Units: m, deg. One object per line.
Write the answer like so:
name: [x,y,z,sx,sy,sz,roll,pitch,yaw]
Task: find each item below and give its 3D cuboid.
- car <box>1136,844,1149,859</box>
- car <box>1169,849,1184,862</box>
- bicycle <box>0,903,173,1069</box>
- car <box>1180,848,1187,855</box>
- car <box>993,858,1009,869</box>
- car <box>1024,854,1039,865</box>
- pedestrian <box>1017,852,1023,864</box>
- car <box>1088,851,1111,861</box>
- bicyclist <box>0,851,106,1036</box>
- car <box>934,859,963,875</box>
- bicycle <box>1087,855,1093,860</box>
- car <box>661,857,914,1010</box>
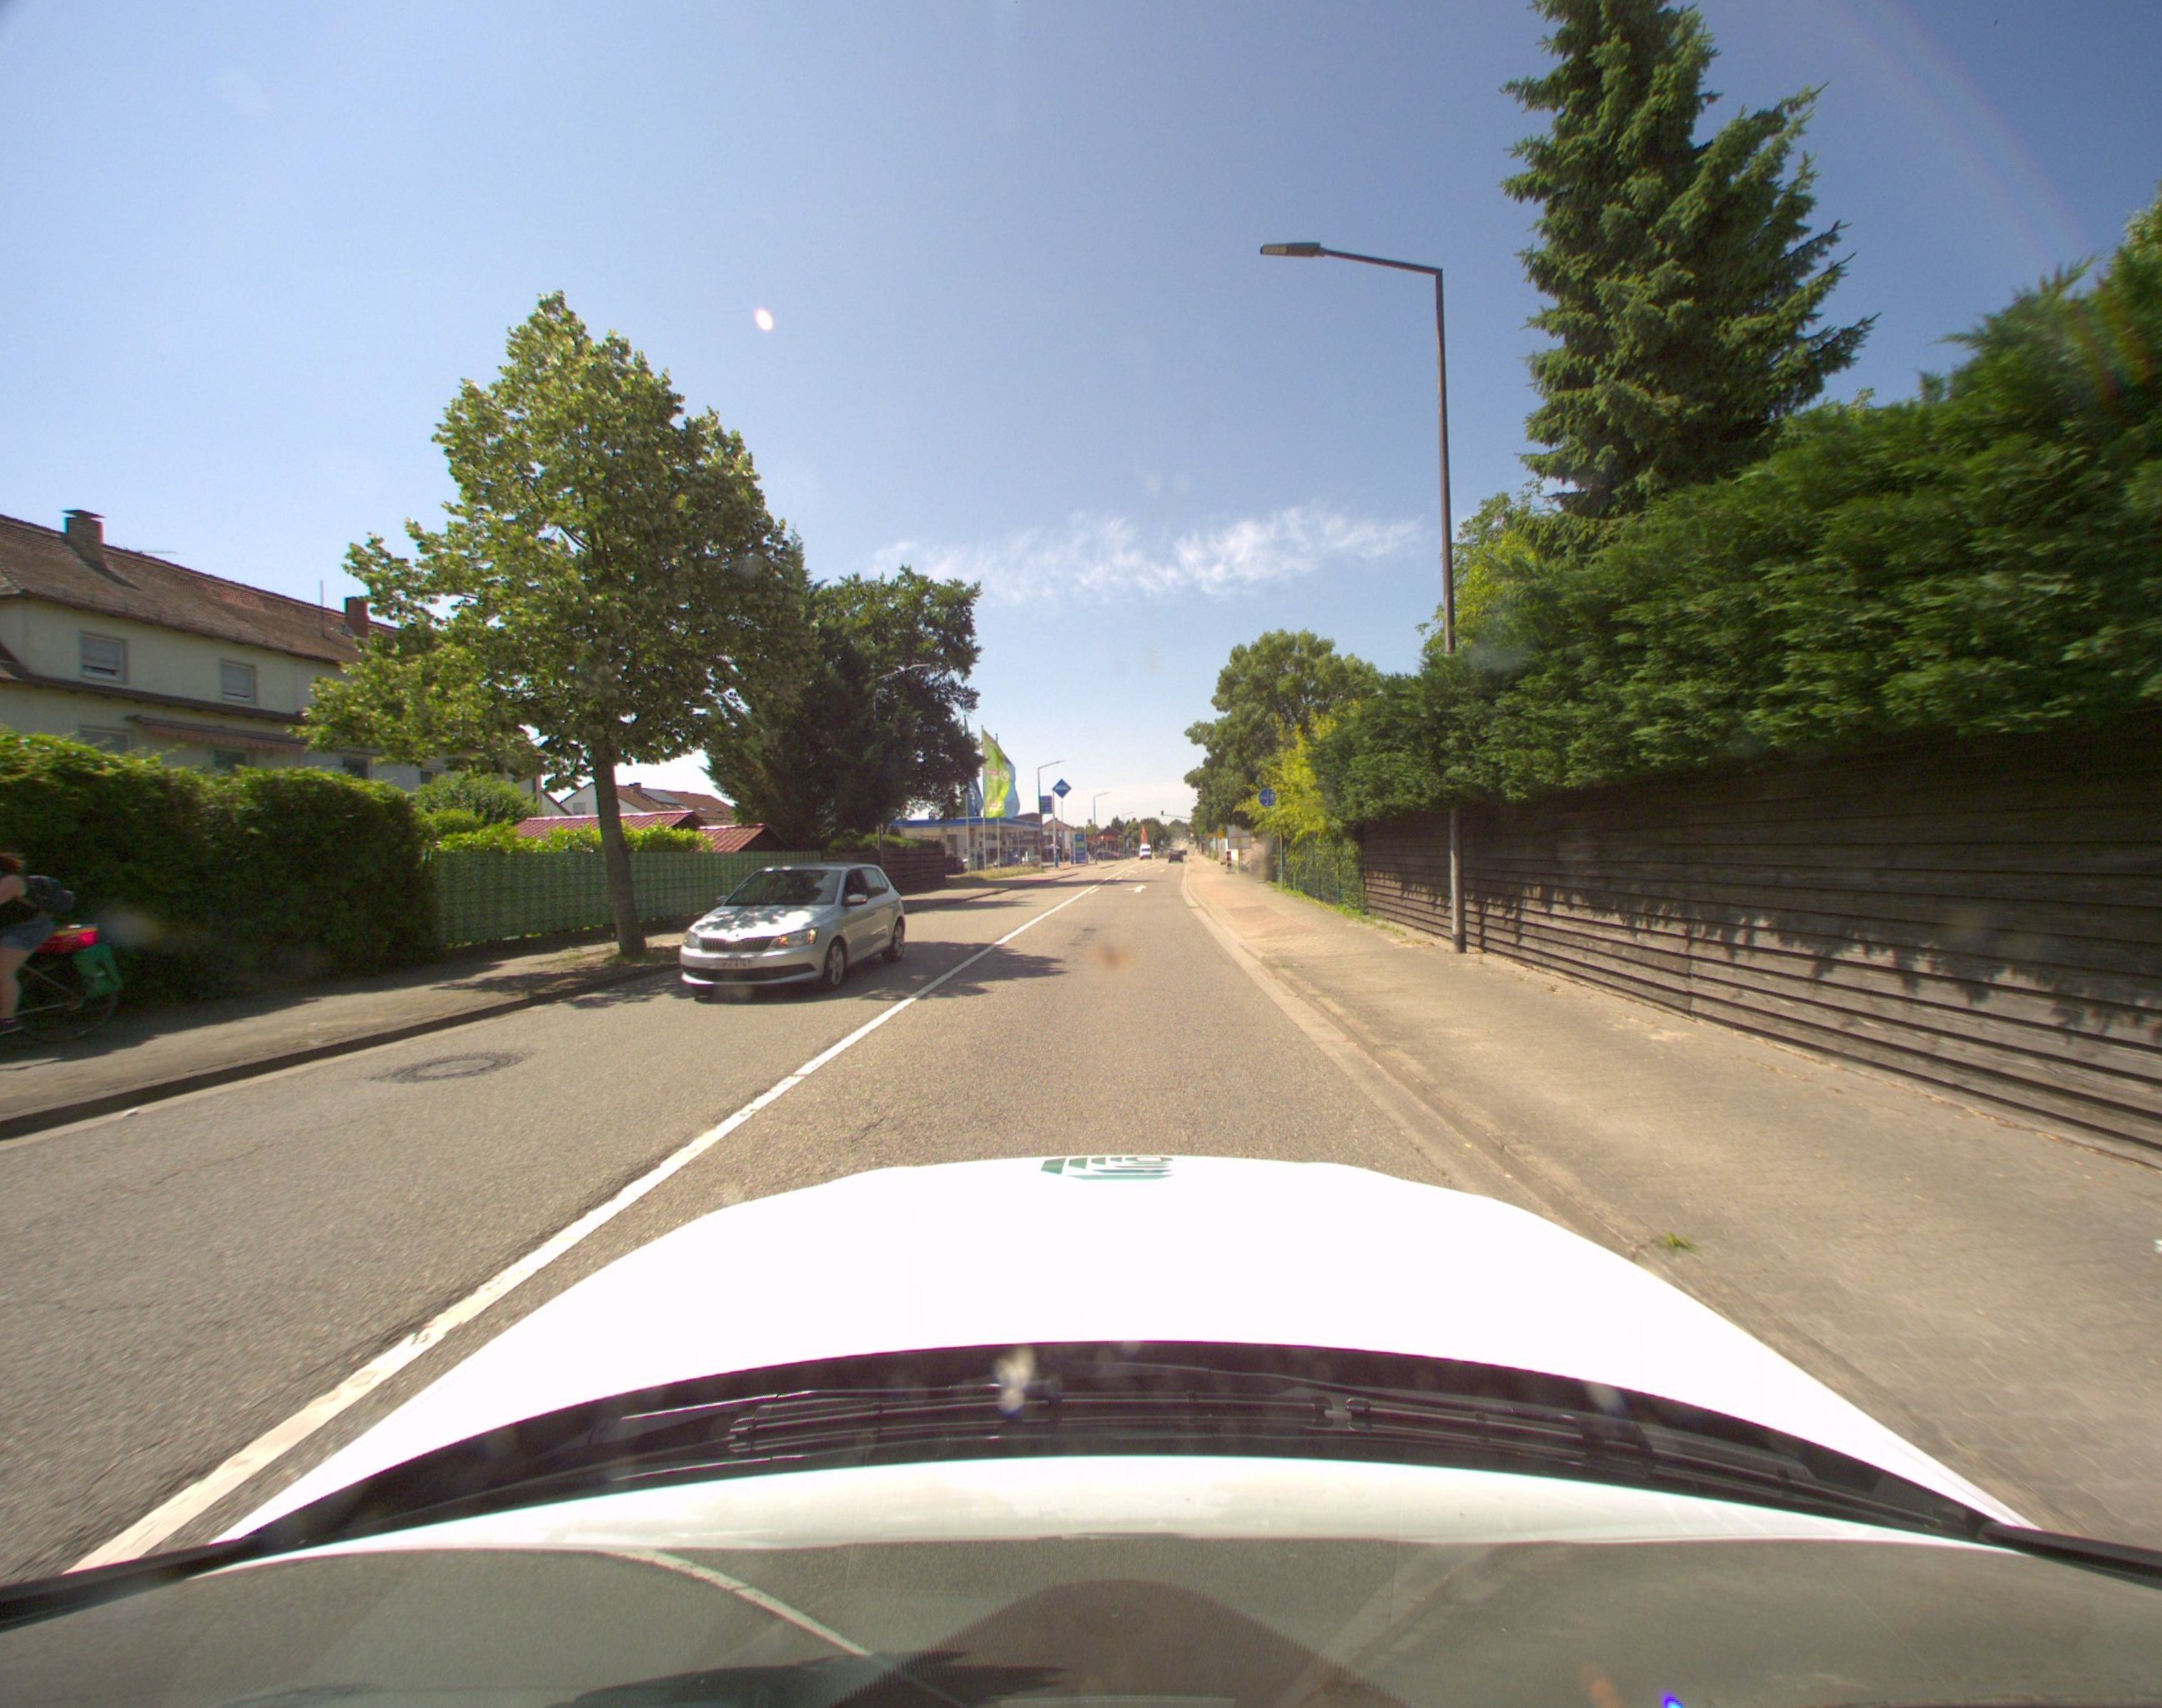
car: [11.070,-0.424,145.699,1.983,2.422,5.958,-2,-1,6]
car: [11.469,0.141,97.265,1.656,1.455,3.480,-3,0,7]
bicycle: [-8.554,1.061,6.417,0.629,1.180,1.817,-3,0,3]
car: [24.957,-0.598,197.643,1.656,1.455,3.480,-3,0,7]
car: [-11.385,1.370,116.565,1.610,1.420,3.715,-5,0,3]
car: [-7.017,0.796,116.622,1.610,1.420,3.715,-5,0,3]
pedestrian: [-8.840,0.547,117.387,0.612,1.691,0.704,-3,0,-19]
car: [3.344,0.340,146.122,3.969,1.508,1.556,-3,0,4]
bicyclist: [-8.565,0.698,6.514,0.626,1.408,0.677,-3,0,3]
car: [-13.095,1.290,80.784,1.661,1.381,4.009,-3,0,7]
bicycle: [1.555,0.550,137.599,0.609,0.793,2.580,-3,0,7]
car: [-3.476,0.842,10.414,1.605,1.482,3.711,-3,0,4]
